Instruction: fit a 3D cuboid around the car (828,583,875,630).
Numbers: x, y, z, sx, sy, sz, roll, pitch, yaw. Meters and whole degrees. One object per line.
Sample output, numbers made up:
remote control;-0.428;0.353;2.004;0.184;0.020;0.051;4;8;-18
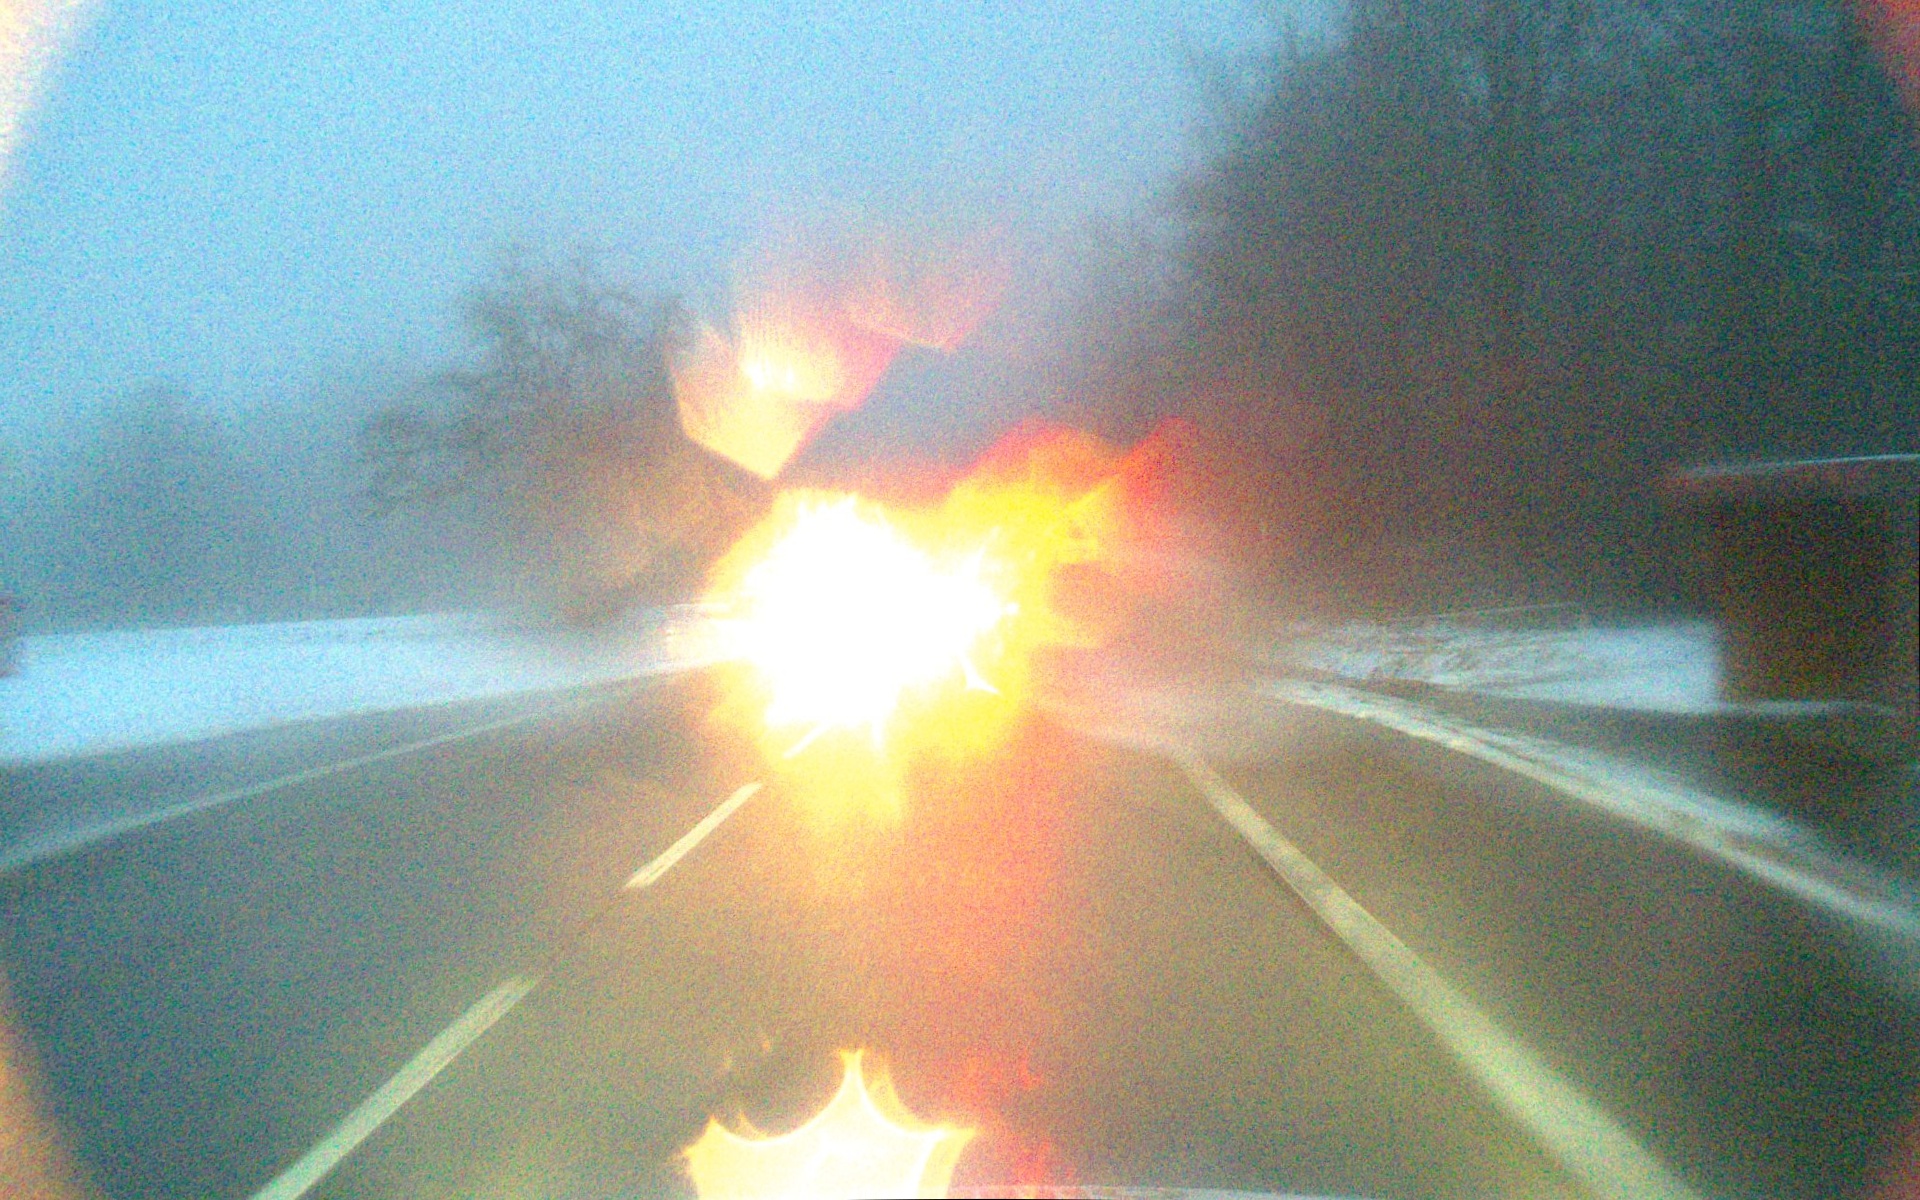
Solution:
car;-4.310;0.223;65.491;1.718;1.722;4.422;-3;1;-5

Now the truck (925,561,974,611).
truck;-0.641;-0.801;94.979;2.037;2.793;5.309;-1;0;-8

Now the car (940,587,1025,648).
car;0.503;0.389;40.403;1.883;1.299;3.999;-1;2;-2
